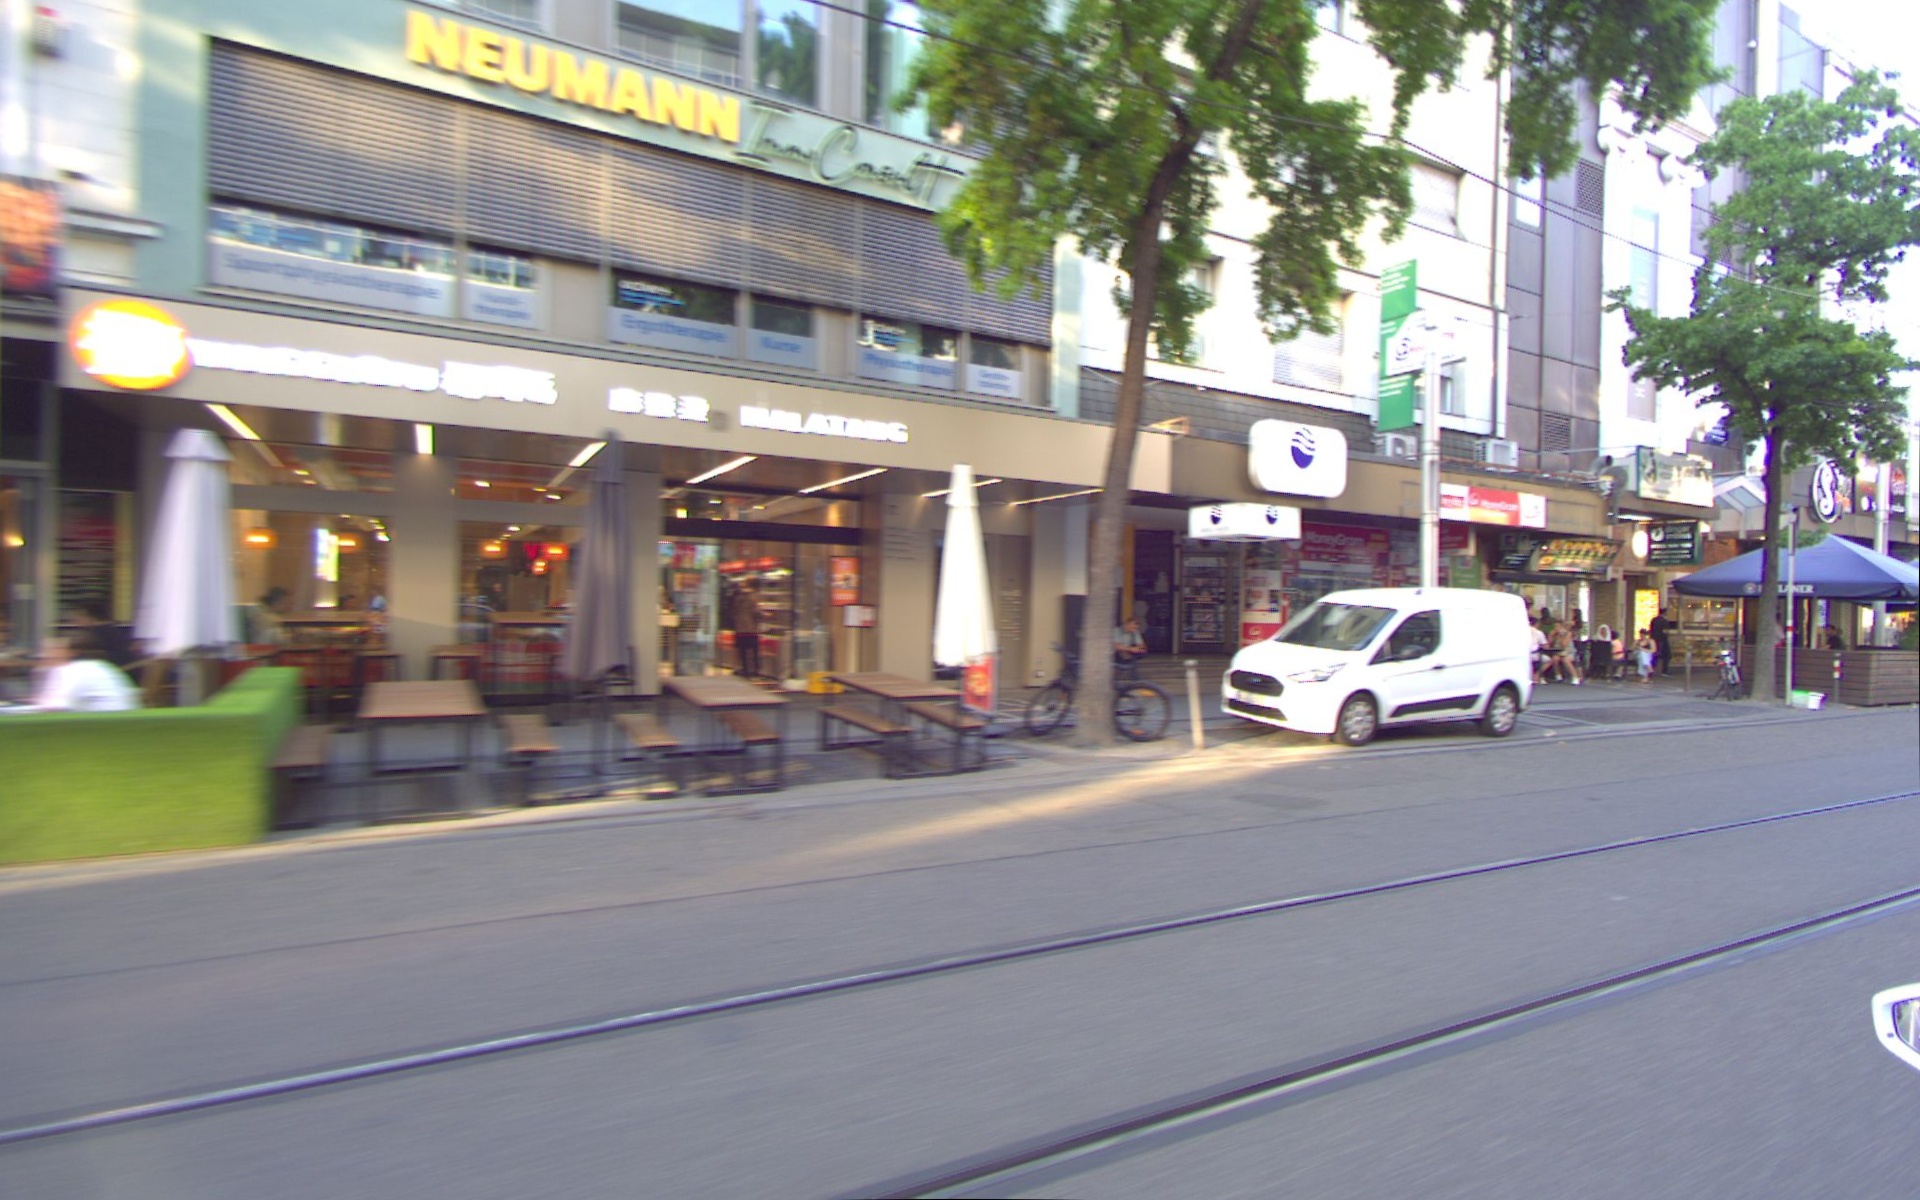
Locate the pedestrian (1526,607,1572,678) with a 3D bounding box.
[{"bbox_3d":[12.710,0.912,21.679,0.505,1.453,0.607,2,3,-26],"label":"pedestrian"}]

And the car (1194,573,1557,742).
[{"bbox_3d":[5.340,0.688,12.812,4.459,1.842,1.787,2,1,-28],"label":"car"}]

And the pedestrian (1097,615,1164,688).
[{"bbox_3d":[2.821,0.848,16.661,0.720,1.109,0.774,2,2,-29],"label":"pedestrian"}]

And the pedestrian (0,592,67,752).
[{"bbox_3d":[-8.717,0.635,9.103,0.756,1.396,0.687,2,0,-28],"label":"pedestrian"}]

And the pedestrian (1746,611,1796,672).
[{"bbox_3d":[17.706,0.909,21.934,0.553,1.273,0.601,2,3,-27],"label":"pedestrian"}]

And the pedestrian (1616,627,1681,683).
[{"bbox_3d":[15.137,1.201,22.097,0.766,1.135,0.820,2,2,-19],"label":"pedestrian"}]

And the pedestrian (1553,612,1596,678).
[{"bbox_3d":[13.444,0.981,21.989,0.596,1.391,0.442,2,2,-19],"label":"pedestrian"}]

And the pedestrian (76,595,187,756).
[{"bbox_3d":[-7.548,0.670,9.179,0.640,1.396,0.602,2,0,-28],"label":"pedestrian"}]

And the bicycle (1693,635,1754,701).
[{"bbox_3d":[14.603,1.265,19.257,0.800,1.118,2.159,1,0,35],"label":"bicycle"}]

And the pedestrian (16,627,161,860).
[{"bbox_3d":[-5.613,0.891,6.503,0.558,1.396,0.577,2,0,-28],"label":"pedestrian"}]

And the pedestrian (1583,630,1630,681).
[{"bbox_3d":[13.962,1.197,21.688,0.649,1.043,0.454,3,2,1],"label":"pedestrian"}]

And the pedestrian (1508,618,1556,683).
[{"bbox_3d":[11.596,1.015,20.355,0.653,1.259,0.509,2,3,-29],"label":"pedestrian"}]

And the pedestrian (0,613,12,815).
[{"bbox_3d":[-6.698,0.766,6.431,0.722,1.364,0.641,2,0,-28],"label":"pedestrian"}]

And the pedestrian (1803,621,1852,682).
[{"bbox_3d":[19.089,1.125,22.108,0.598,1.273,0.556,2,3,-28],"label":"pedestrian"}]

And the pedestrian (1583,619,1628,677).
[{"bbox_3d":[14.651,1.086,22.802,0.597,1.274,0.557,2,2,-25],"label":"pedestrian"}]

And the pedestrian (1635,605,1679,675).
[{"bbox_3d":[16.706,0.962,24.070,0.553,1.618,0.601,2,2,-27],"label":"pedestrian"}]

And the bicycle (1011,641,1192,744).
[{"bbox_3d":[1.607,1.050,11.571,1.979,1.082,0.613,1,0,0],"label":"bicycle"}]

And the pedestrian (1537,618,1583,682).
[{"bbox_3d":[12.430,1.035,20.815,0.580,1.273,0.519,2,3,-29],"label":"pedestrian"}]

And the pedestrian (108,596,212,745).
[{"bbox_3d":[-7.799,0.675,9.822,0.671,1.396,0.535,2,0,-29],"label":"pedestrian"}]
